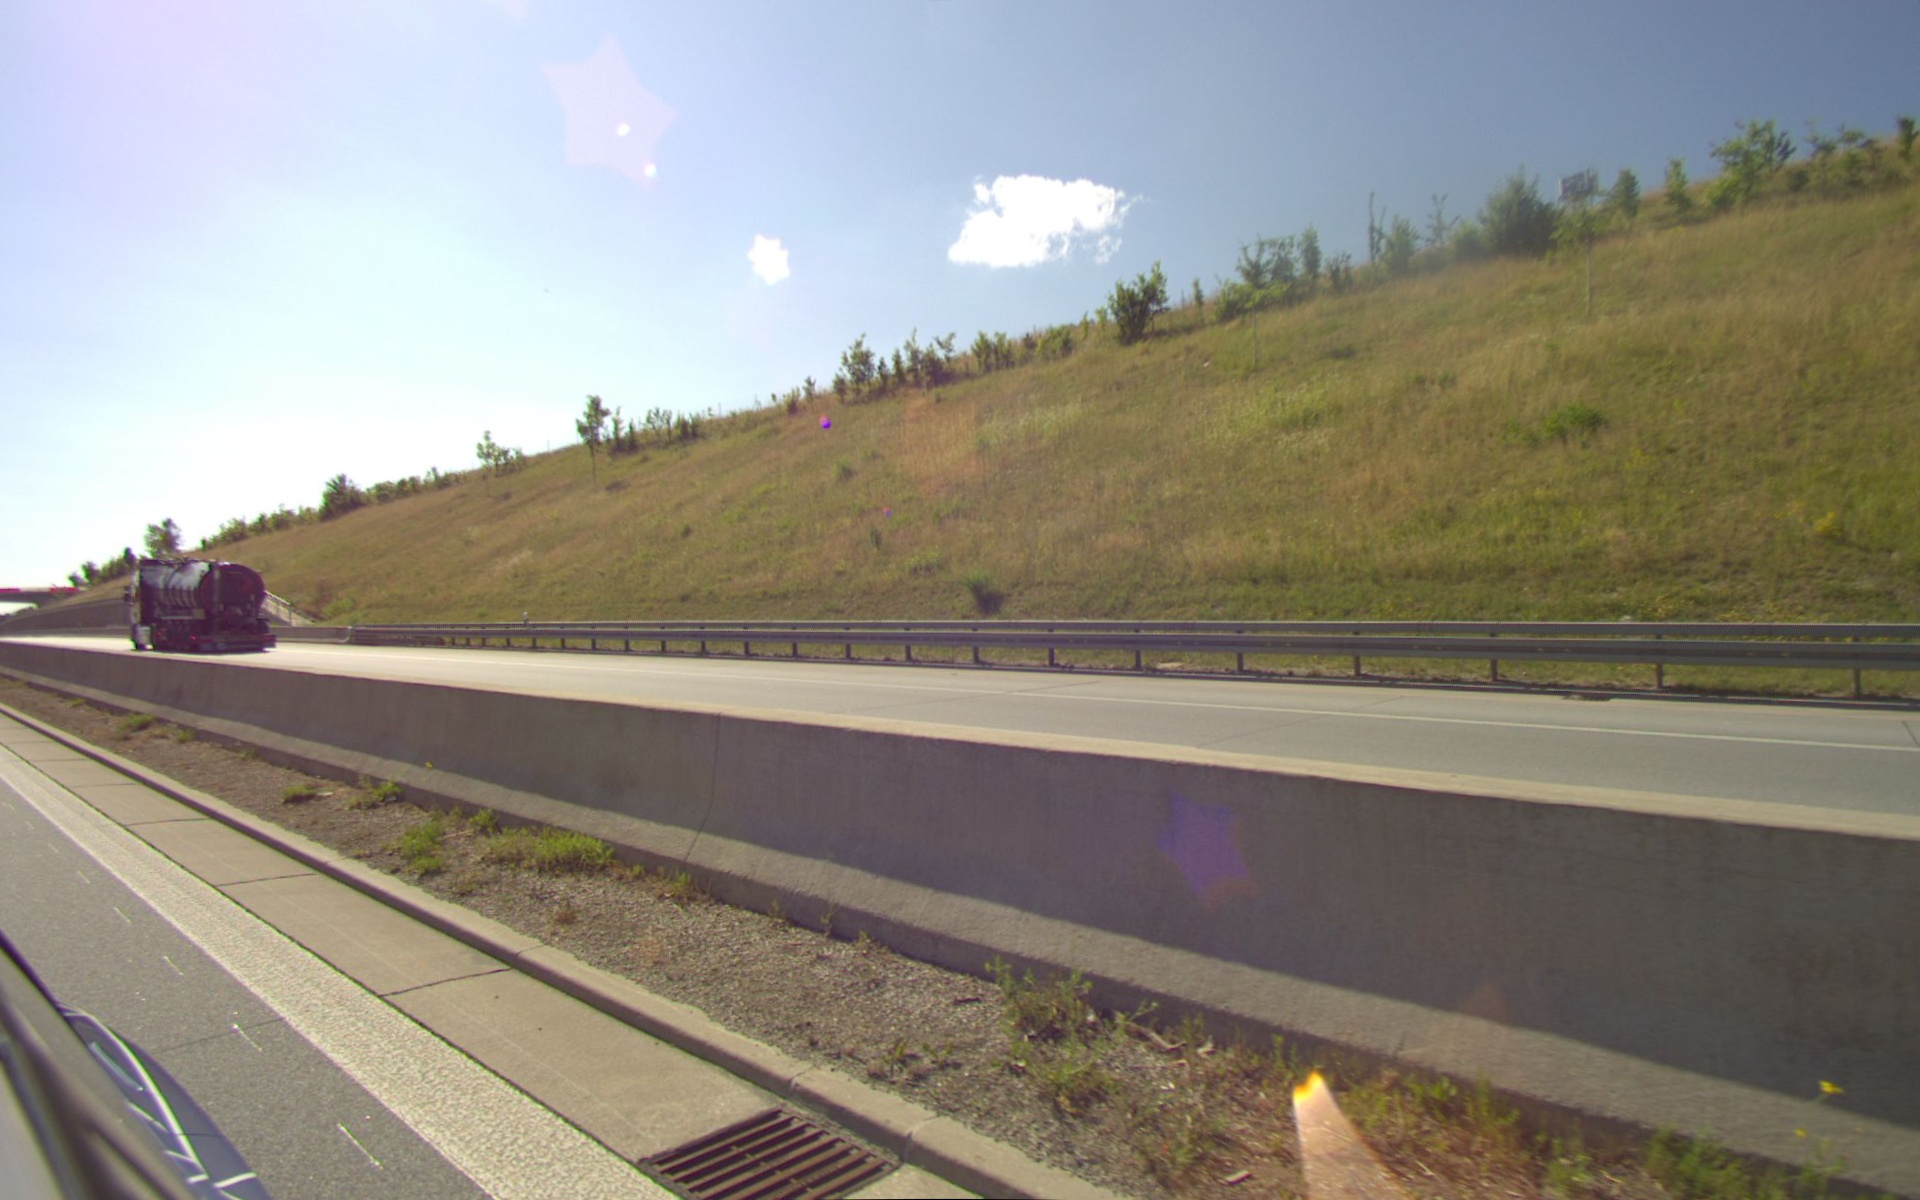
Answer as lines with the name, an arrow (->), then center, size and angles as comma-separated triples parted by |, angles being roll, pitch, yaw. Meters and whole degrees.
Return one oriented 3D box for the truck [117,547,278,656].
truck -> -31.777, 0.124, 41.860 | 12.440, 3.971, 2.728 | -1, 0, 41
